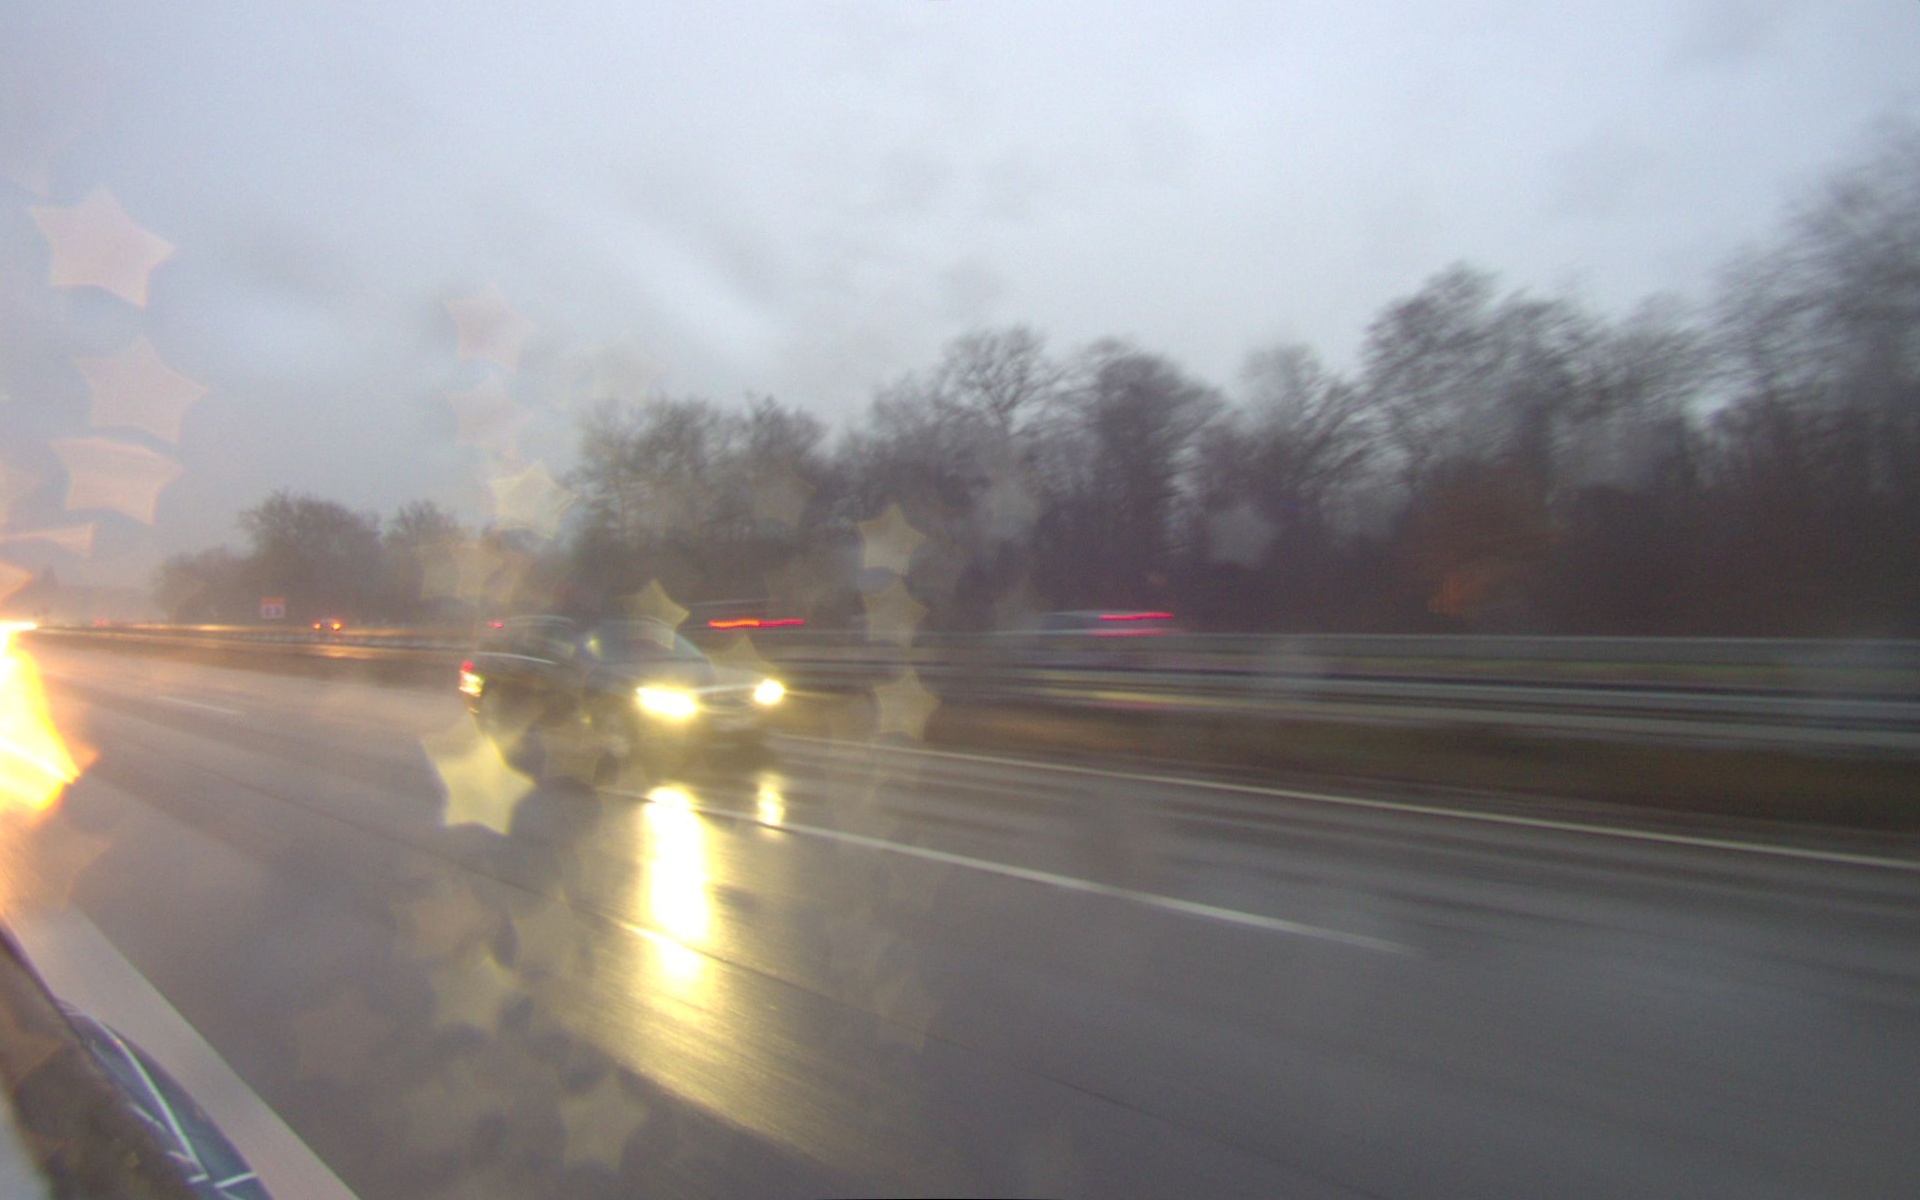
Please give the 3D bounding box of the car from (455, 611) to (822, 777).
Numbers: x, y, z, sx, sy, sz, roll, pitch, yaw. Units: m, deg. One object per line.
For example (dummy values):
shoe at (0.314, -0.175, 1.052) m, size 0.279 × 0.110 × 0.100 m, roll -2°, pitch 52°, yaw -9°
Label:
car at (-3.749, 0.924, 11.395) m, size 4.408 × 1.479 × 1.781 m, roll -2°, pitch 0°, yaw 39°

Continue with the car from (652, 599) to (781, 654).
car at (-6.864, 0.689, 28.304) m, size 3.840 × 1.386 × 1.558 m, roll 1°, pitch 2°, yaw 41°

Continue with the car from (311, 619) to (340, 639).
car at (-50.232, 2.266, 80.143) m, size 1.719 × 1.498 × 4.012 m, roll -2°, pitch 0°, yaw -29°

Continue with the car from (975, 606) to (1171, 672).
car at (2.687, 0.894, 24.936) m, size 4.780 × 1.386 × 1.558 m, roll 1°, pitch 2°, yaw 41°
